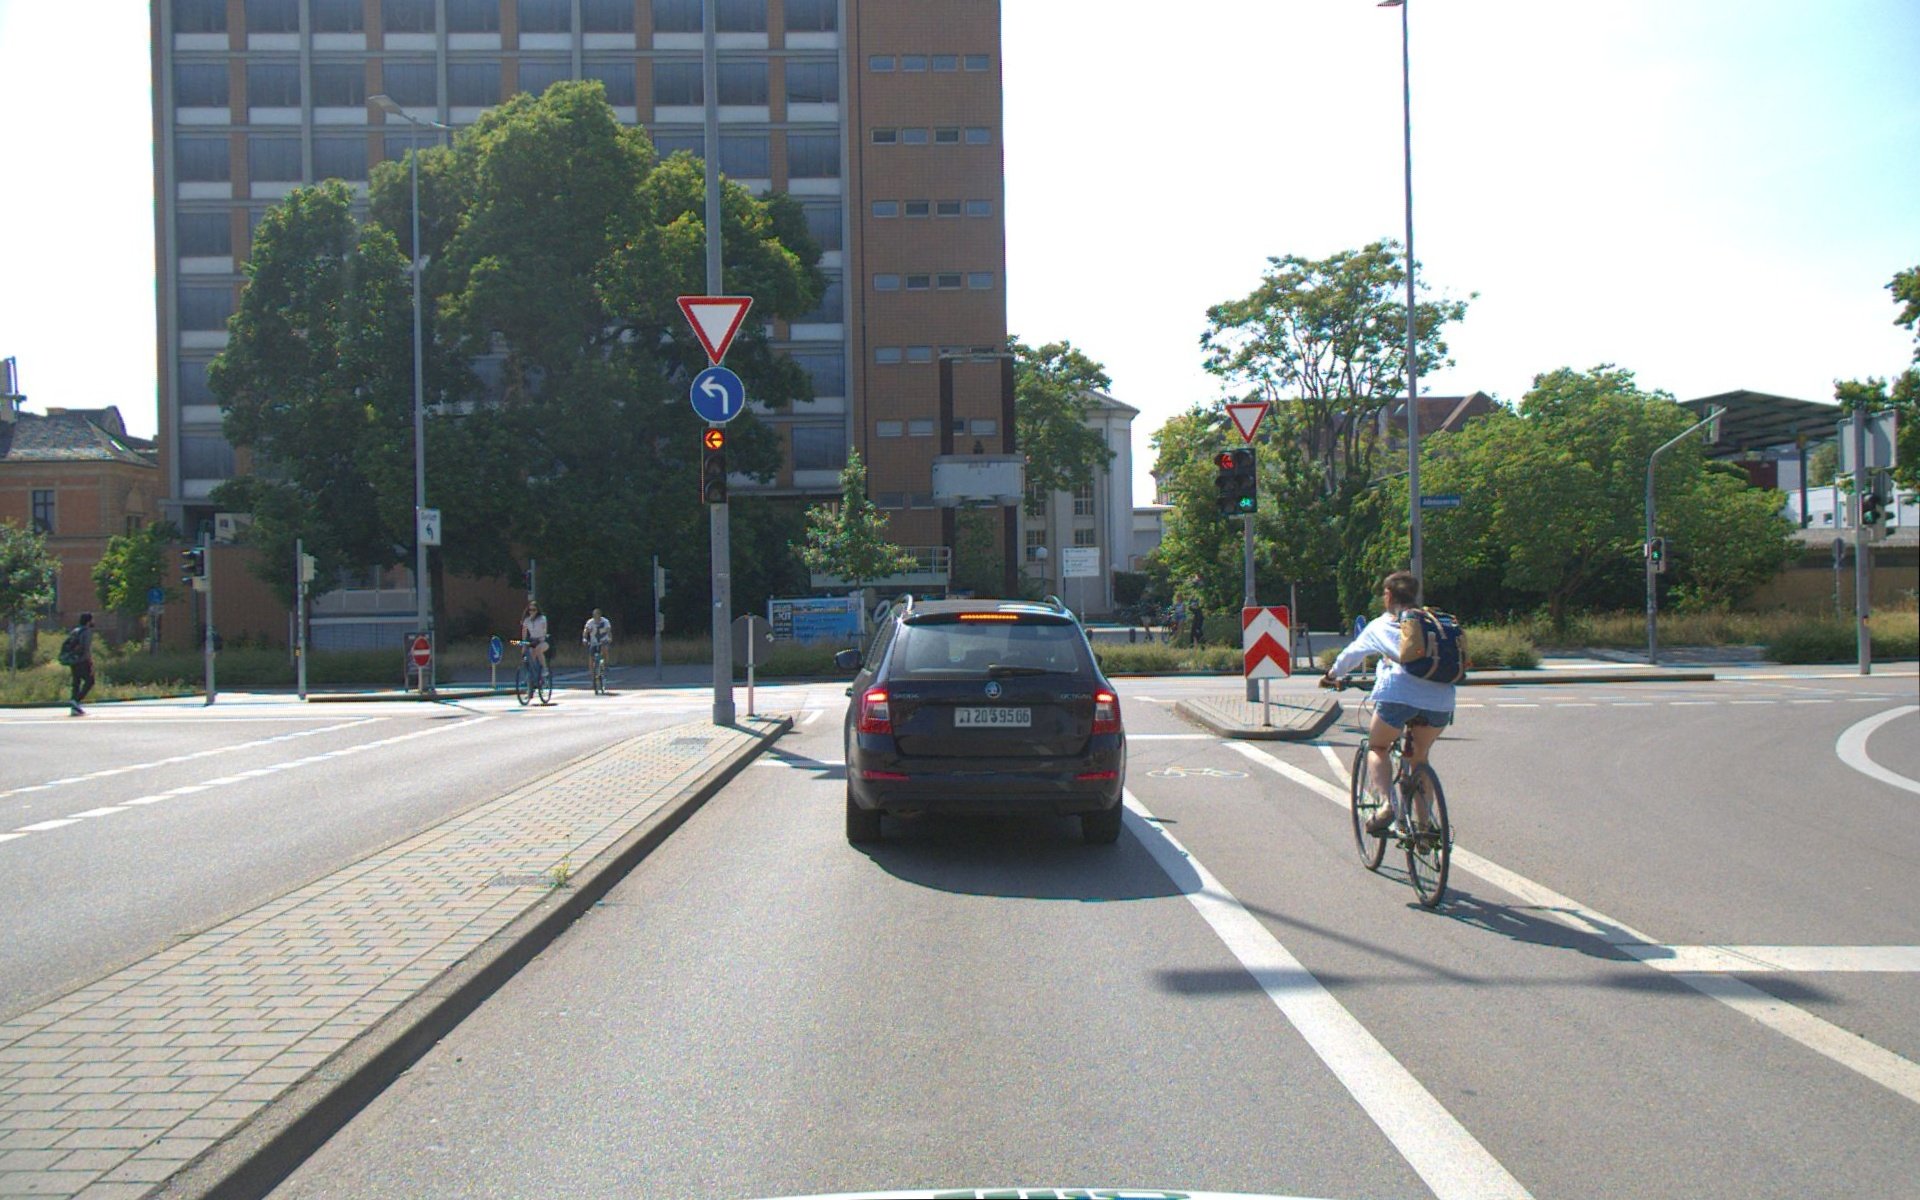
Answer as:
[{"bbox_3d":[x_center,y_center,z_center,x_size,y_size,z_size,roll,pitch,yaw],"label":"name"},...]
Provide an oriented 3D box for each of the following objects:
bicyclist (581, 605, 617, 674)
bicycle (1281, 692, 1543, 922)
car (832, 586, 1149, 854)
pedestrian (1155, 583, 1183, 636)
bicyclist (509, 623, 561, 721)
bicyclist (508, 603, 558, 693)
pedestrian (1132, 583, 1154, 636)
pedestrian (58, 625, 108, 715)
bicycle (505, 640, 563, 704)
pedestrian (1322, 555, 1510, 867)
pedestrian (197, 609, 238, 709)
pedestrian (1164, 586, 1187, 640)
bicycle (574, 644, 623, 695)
[{"bbox_3d":[-7.783,0.849,35.701,0.528,1.441,1.029,-2,-1,-3],"label":"bicyclist"},{"bbox_3d":[2.293,1.013,8.673,0.585,0.948,2.024,0,0,-8],"label":"bicycle"},{"bbox_3d":[0.159,0.661,11.034,1.743,1.468,3.817,0,0,0],"label":"car"},{"bbox_3d":[7.723,0.337,61.175,0.778,1.907,0.638,-3,0,24],"label":"pedestrian"},{"bbox_3d":[-7.295,1.225,28.410,0.606,1.609,1.012,-4,0,-6],"label":"bicyclist"},{"bbox_3d":[-7.320,0.812,28.399,0.606,1.468,0.919,-4,0,-6],"label":"bicyclist"},{"bbox_3d":[6.728,0.348,60.736,0.584,1.907,0.639,-3,0,22],"label":"pedestrian"},{"bbox_3d":[-15.234,1.213,28.755,0.621,1.518,0.614,-2,0,-17],"label":"pedestrian"},{"bbox_3d":[-7.294,1.224,28.396,0.606,0.977,1.965,-4,0,-6],"label":"bicycle"},{"bbox_3d":[2.310,0.534,8.470,0.572,1.492,1.012,0,-1,-8],"label":"pedestrian"},{"bbox_3d":[-15.302,1.207,34.092,0.610,2.049,0.678,2,-2,-38],"label":"pedestrian"},{"bbox_3d":[7.755,0.465,59.642,0.624,1.907,0.796,-3,0,-1],"label":"pedestrian"},{"bbox_3d":[-7.788,1.483,35.698,0.690,0.994,2.029,-2,0,-3],"label":"bicycle"}]
